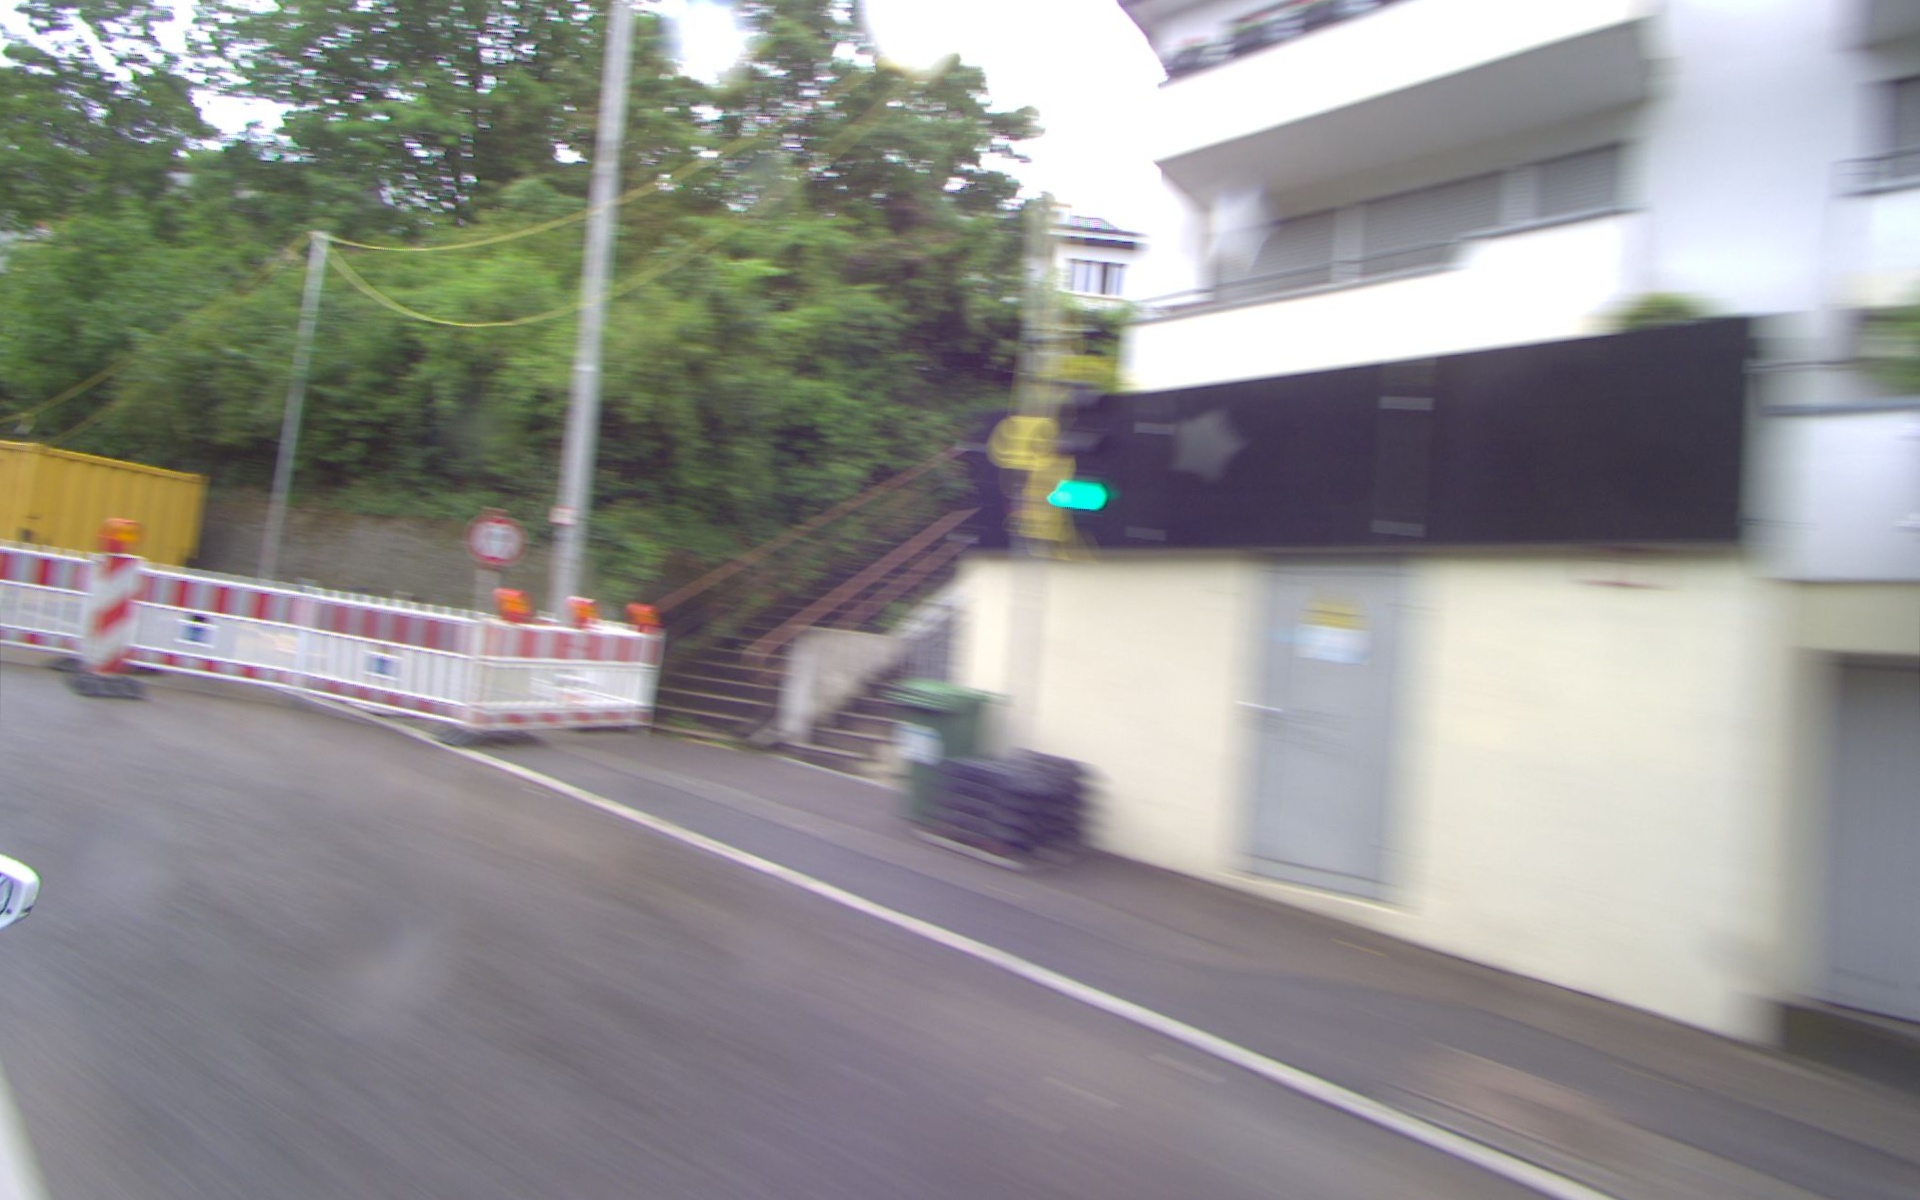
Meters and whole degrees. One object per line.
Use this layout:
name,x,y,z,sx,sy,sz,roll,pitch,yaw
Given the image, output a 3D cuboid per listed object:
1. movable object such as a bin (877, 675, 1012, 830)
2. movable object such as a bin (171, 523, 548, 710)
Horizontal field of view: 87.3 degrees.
movable object such as a bin,-0.119,1.146,7.659,0.717,1.044,0.585,7,0,-43
movable object such as a bin,-7.039,0.186,11.757,3.932,1.537,1.998,8,-2,30
